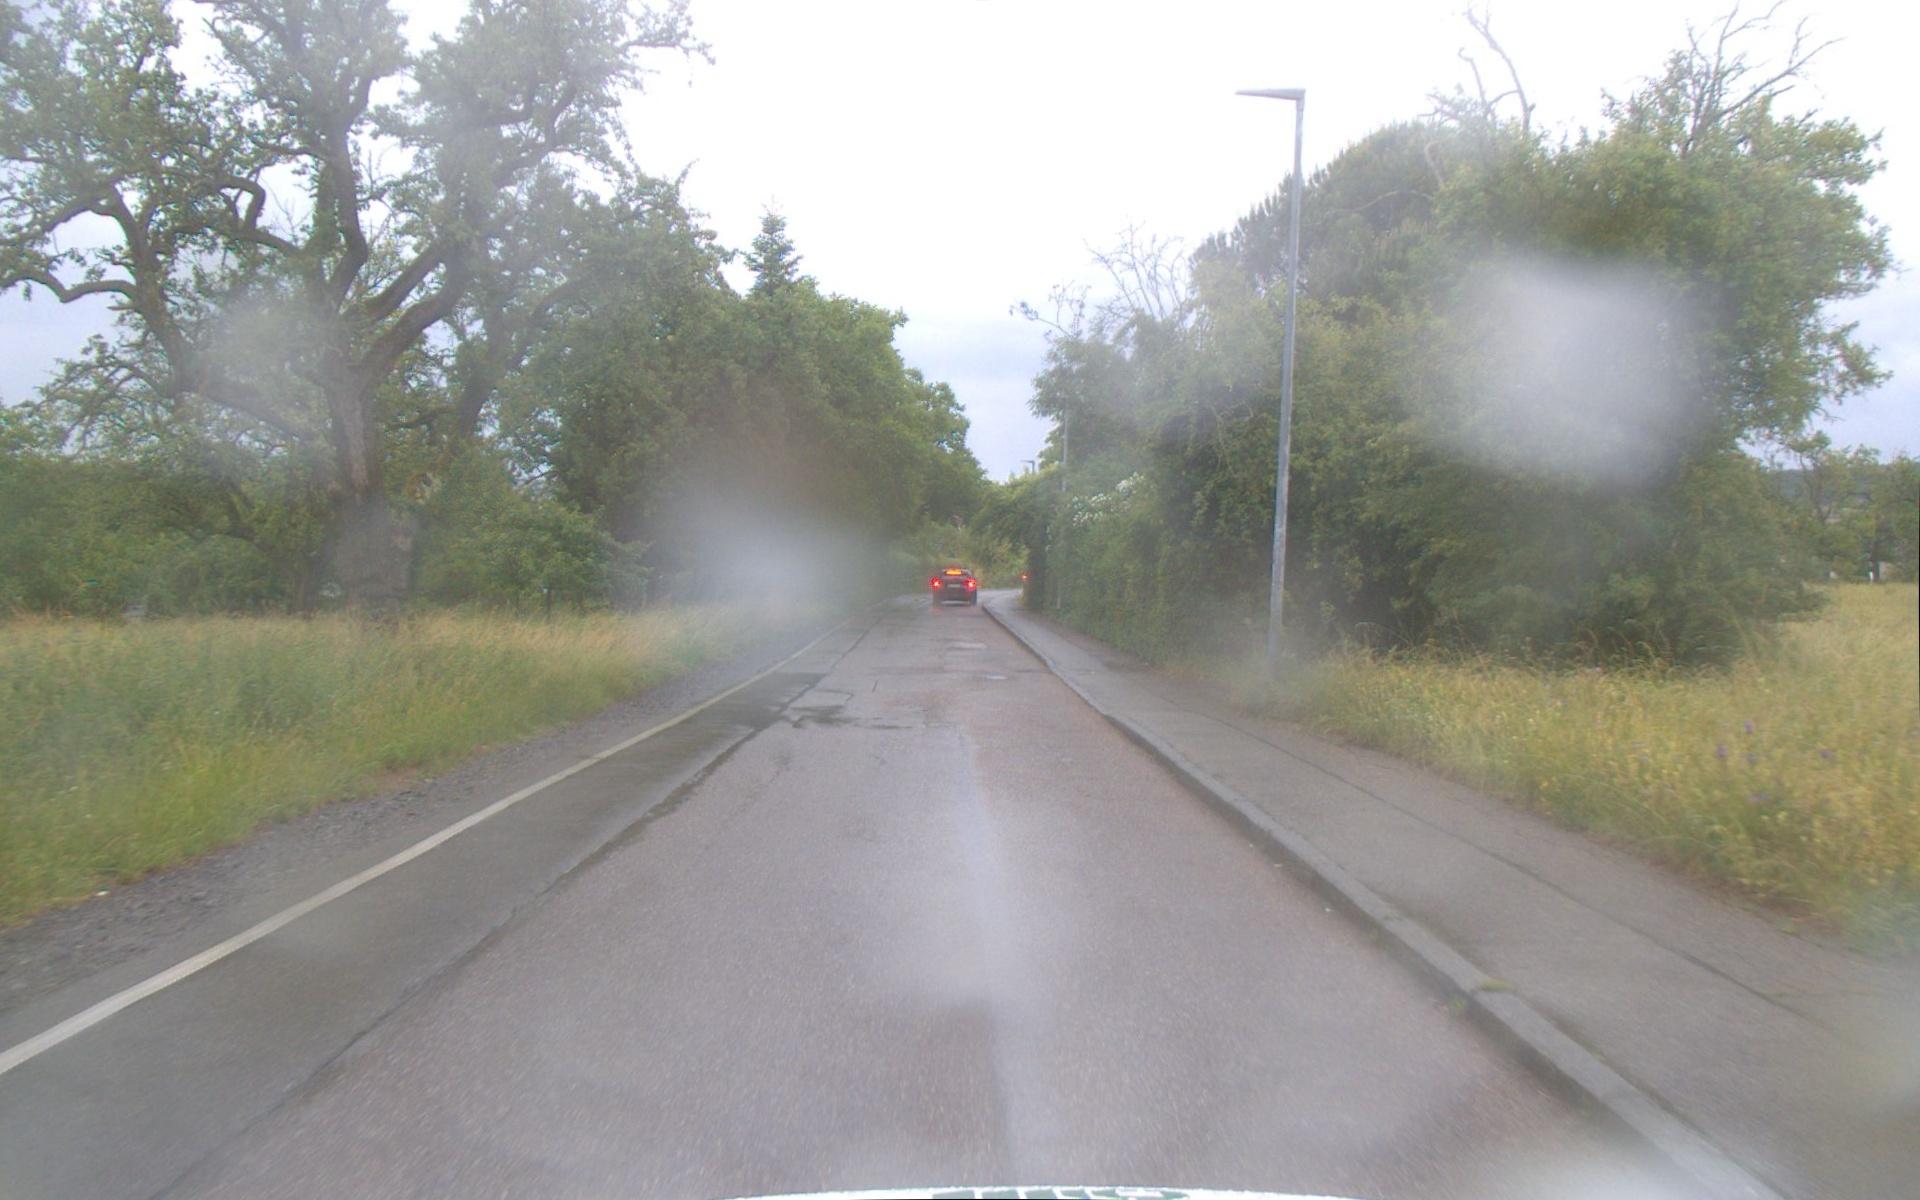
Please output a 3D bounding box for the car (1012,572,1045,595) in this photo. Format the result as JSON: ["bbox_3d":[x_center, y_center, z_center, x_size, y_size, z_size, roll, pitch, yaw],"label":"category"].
[{"bbox_3d":[4.623,-1.108,111.230,1.600,1.438,3.547,2,0,13],"label":"car"}]

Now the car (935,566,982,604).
[{"bbox_3d":[-0.040,-0.586,68.200,1.600,1.475,3.546,2,0,5],"label":"car"}]
